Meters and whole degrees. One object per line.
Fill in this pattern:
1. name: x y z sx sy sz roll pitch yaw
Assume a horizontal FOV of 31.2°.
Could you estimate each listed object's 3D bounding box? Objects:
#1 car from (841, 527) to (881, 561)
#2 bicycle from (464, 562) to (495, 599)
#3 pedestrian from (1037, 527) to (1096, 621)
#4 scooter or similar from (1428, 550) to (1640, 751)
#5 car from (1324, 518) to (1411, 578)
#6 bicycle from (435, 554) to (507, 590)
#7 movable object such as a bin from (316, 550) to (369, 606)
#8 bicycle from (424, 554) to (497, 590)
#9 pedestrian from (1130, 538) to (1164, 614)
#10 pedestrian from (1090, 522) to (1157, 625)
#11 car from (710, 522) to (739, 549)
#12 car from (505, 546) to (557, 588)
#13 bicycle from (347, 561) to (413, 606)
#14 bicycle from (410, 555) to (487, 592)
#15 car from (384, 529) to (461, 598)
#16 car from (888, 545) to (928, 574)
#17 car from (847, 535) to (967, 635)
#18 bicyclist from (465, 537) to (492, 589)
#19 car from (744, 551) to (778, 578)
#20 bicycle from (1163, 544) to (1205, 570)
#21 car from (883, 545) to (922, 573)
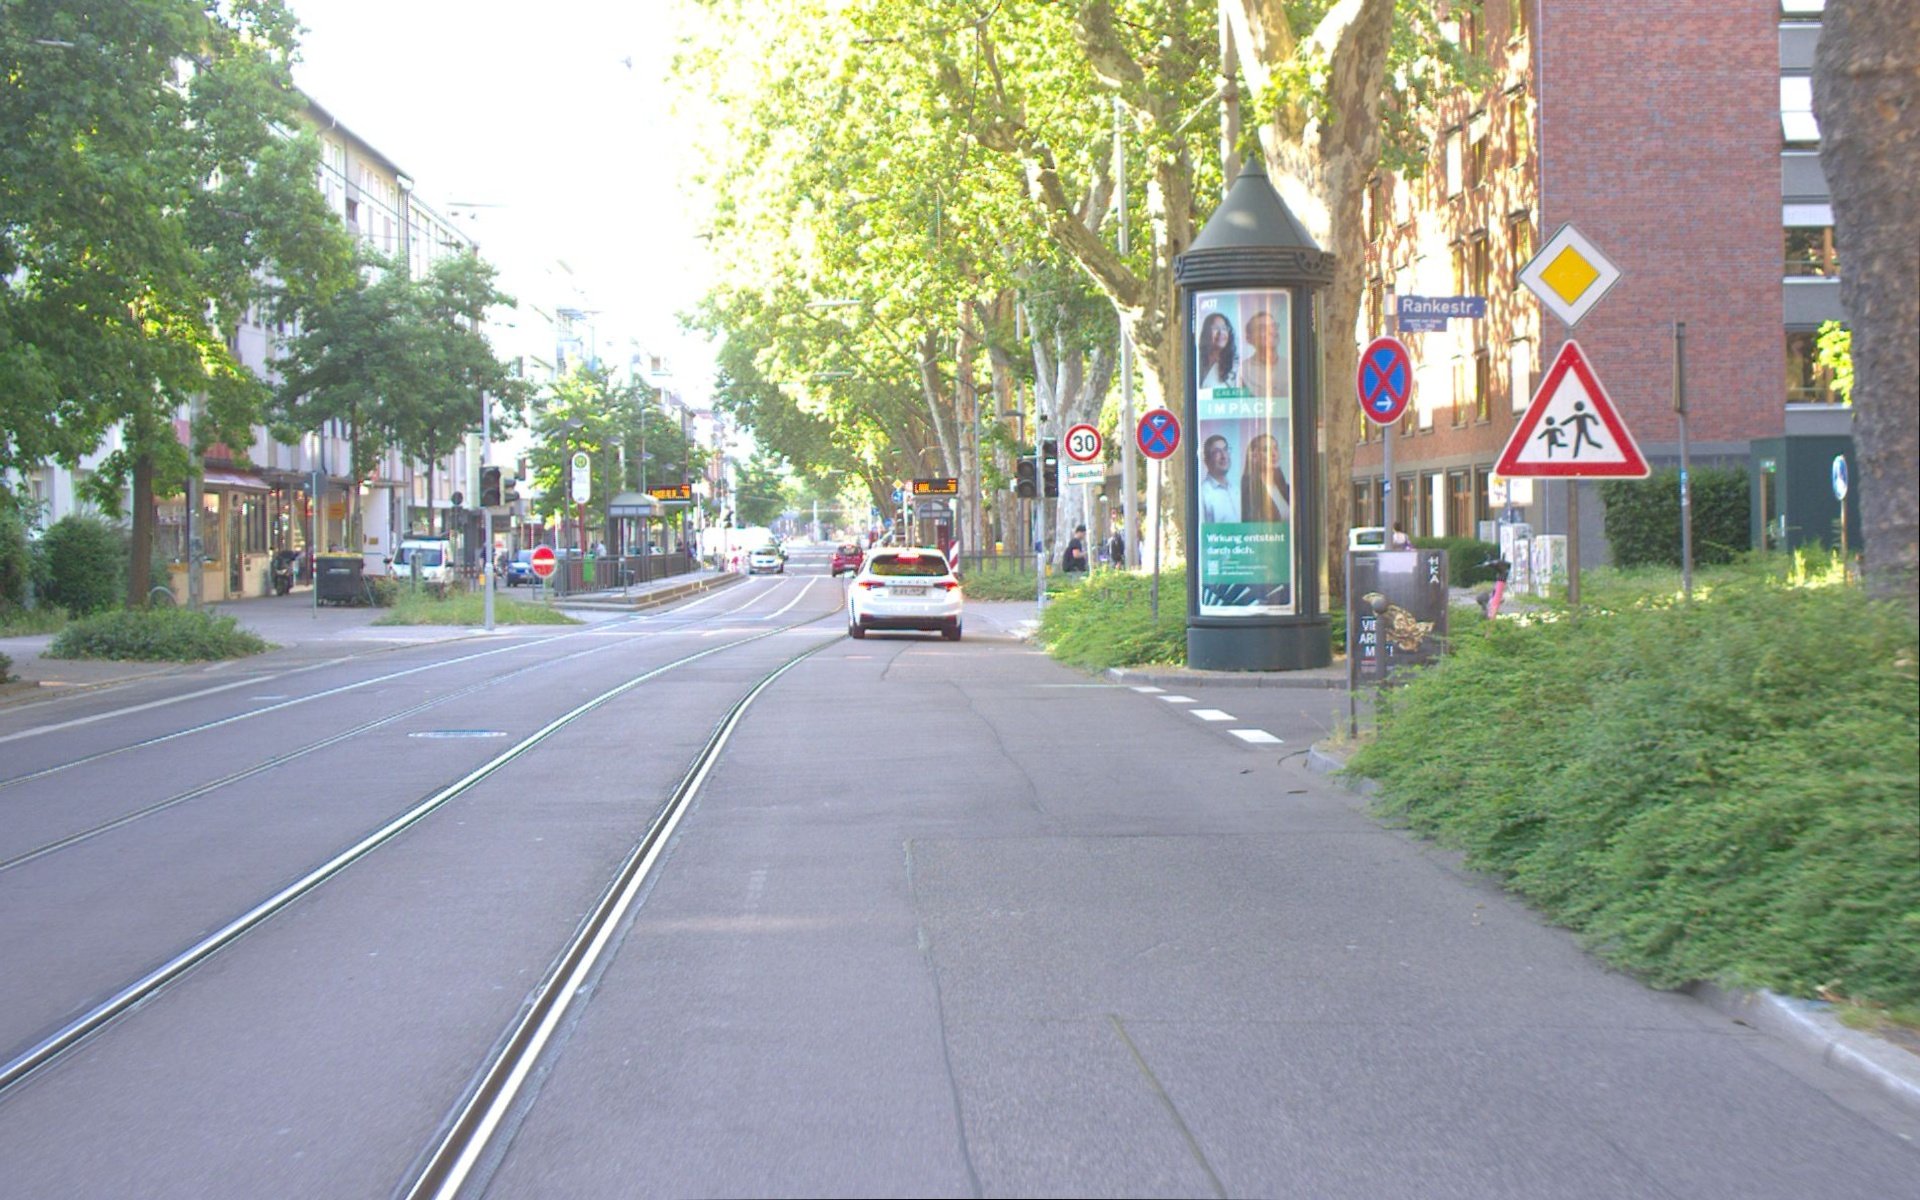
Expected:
1. car: -4.551 -2.552 157.529 1.788 1.508 4.001 -1 1 -2
2. bicycle: -13.447 -0.558 96.190 0.641 0.983 2.101 -2 1 -3
3. pedestrian: 2.092 -0.515 67.511 0.994 1.805 0.864 -1 1 -7
4. scooter or similar: 3.656 0.316 21.943 1.208 1.235 0.570 -2 0 -3
5. car: 10.380 -1.333 87.751 1.600 1.490 3.417 -1 1 -3
6. bicycle: -16.208 -0.929 113.995 2.253 1.070 0.636 2 1 0
7. movable object such as a bin: -15.420 -0.549 85.864 1.169 1.344 0.783 3 1 -6
8. bicycle: -16.290 -0.915 112.161 2.253 1.070 0.636 2 1 0
9. pedestrian: 4.136 -0.530 75.926 0.652 1.663 0.738 -1 1 -2
10. pedestrian: 3.088 -0.514 64.957 0.982 1.857 1.016 -5 1 -7
11. car: -16.843 -4.648 245.930 1.866 1.886 4.001 -1 1 -2
12. car: -16.353 -1.274 131.278 1.593 1.543 4.001 1 1 -2
13. bicycle: -14.841 -0.417 87.954 1.533 1.071 0.885 2 1 -2
14. bicycle: -15.881 -0.819 106.727 2.253 1.070 0.636 2 1 0
15. car: -15.495 -1.076 99.260 1.688 1.933 4.000 -1 1 -2
16. car: -2.747 -2.152 180.650 1.993 1.448 4.001 -1 1 -2
17. car: -0.877 -0.266 54.690 1.788 1.508 4.001 -1 1 -2
18. bicyclist: -13.473 -1.037 96.191 0.641 1.450 0.837 -2 1 -3
19. car: -10.595 -1.894 183.388 1.693 1.414 4.001 -1 1 -2
20. bicycle: 9.000 -1.738 138.074 1.567 1.034 0.479 -1 1 20
21. car: -3.110 -2.222 185.729 1.993 1.448 4.001 -1 1 -2
